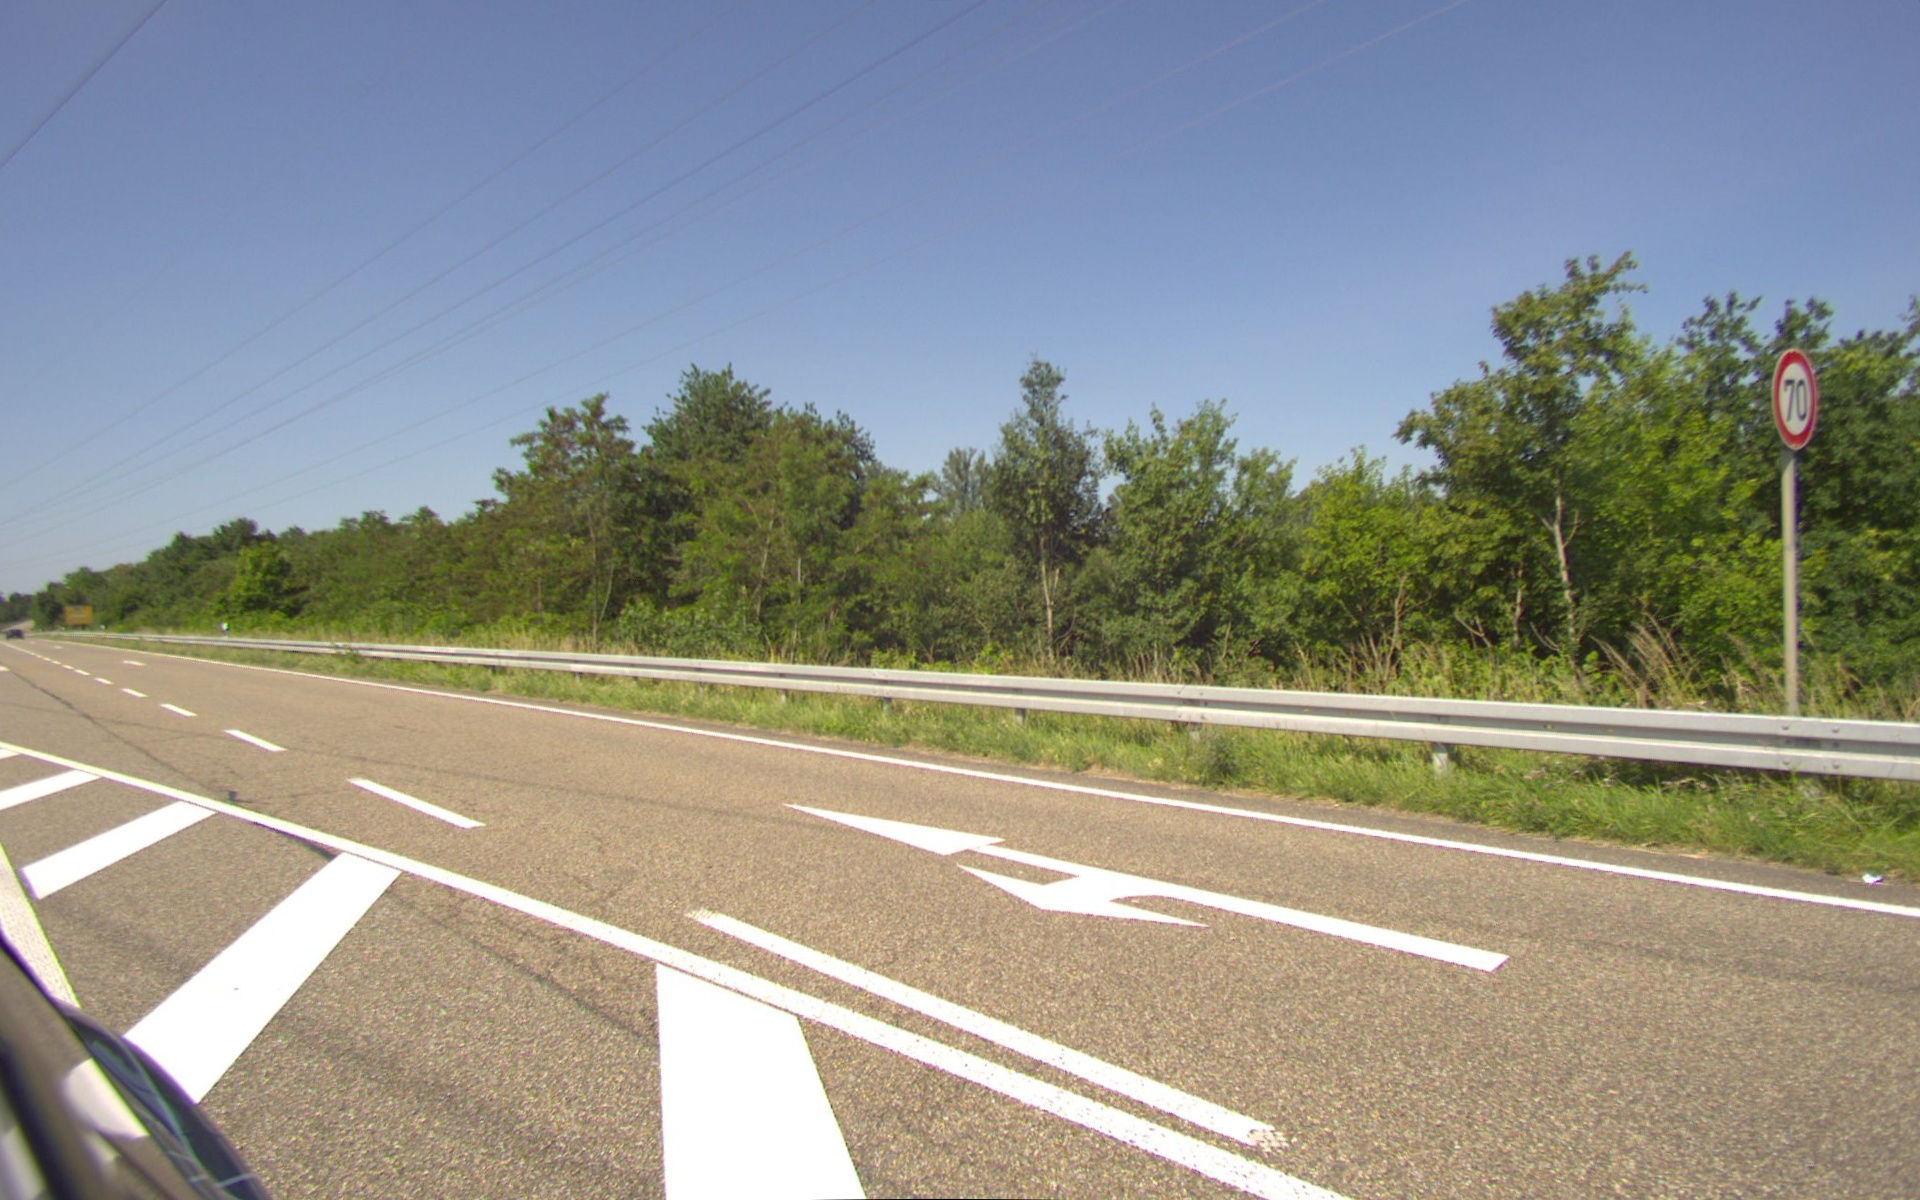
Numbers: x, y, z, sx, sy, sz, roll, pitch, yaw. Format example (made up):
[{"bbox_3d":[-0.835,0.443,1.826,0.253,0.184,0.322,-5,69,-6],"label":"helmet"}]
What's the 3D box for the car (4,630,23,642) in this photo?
[{"bbox_3d":[-127.940,4.808,136.758,1.807,1.595,4.003,1,-2,-44],"label":"car"}]
